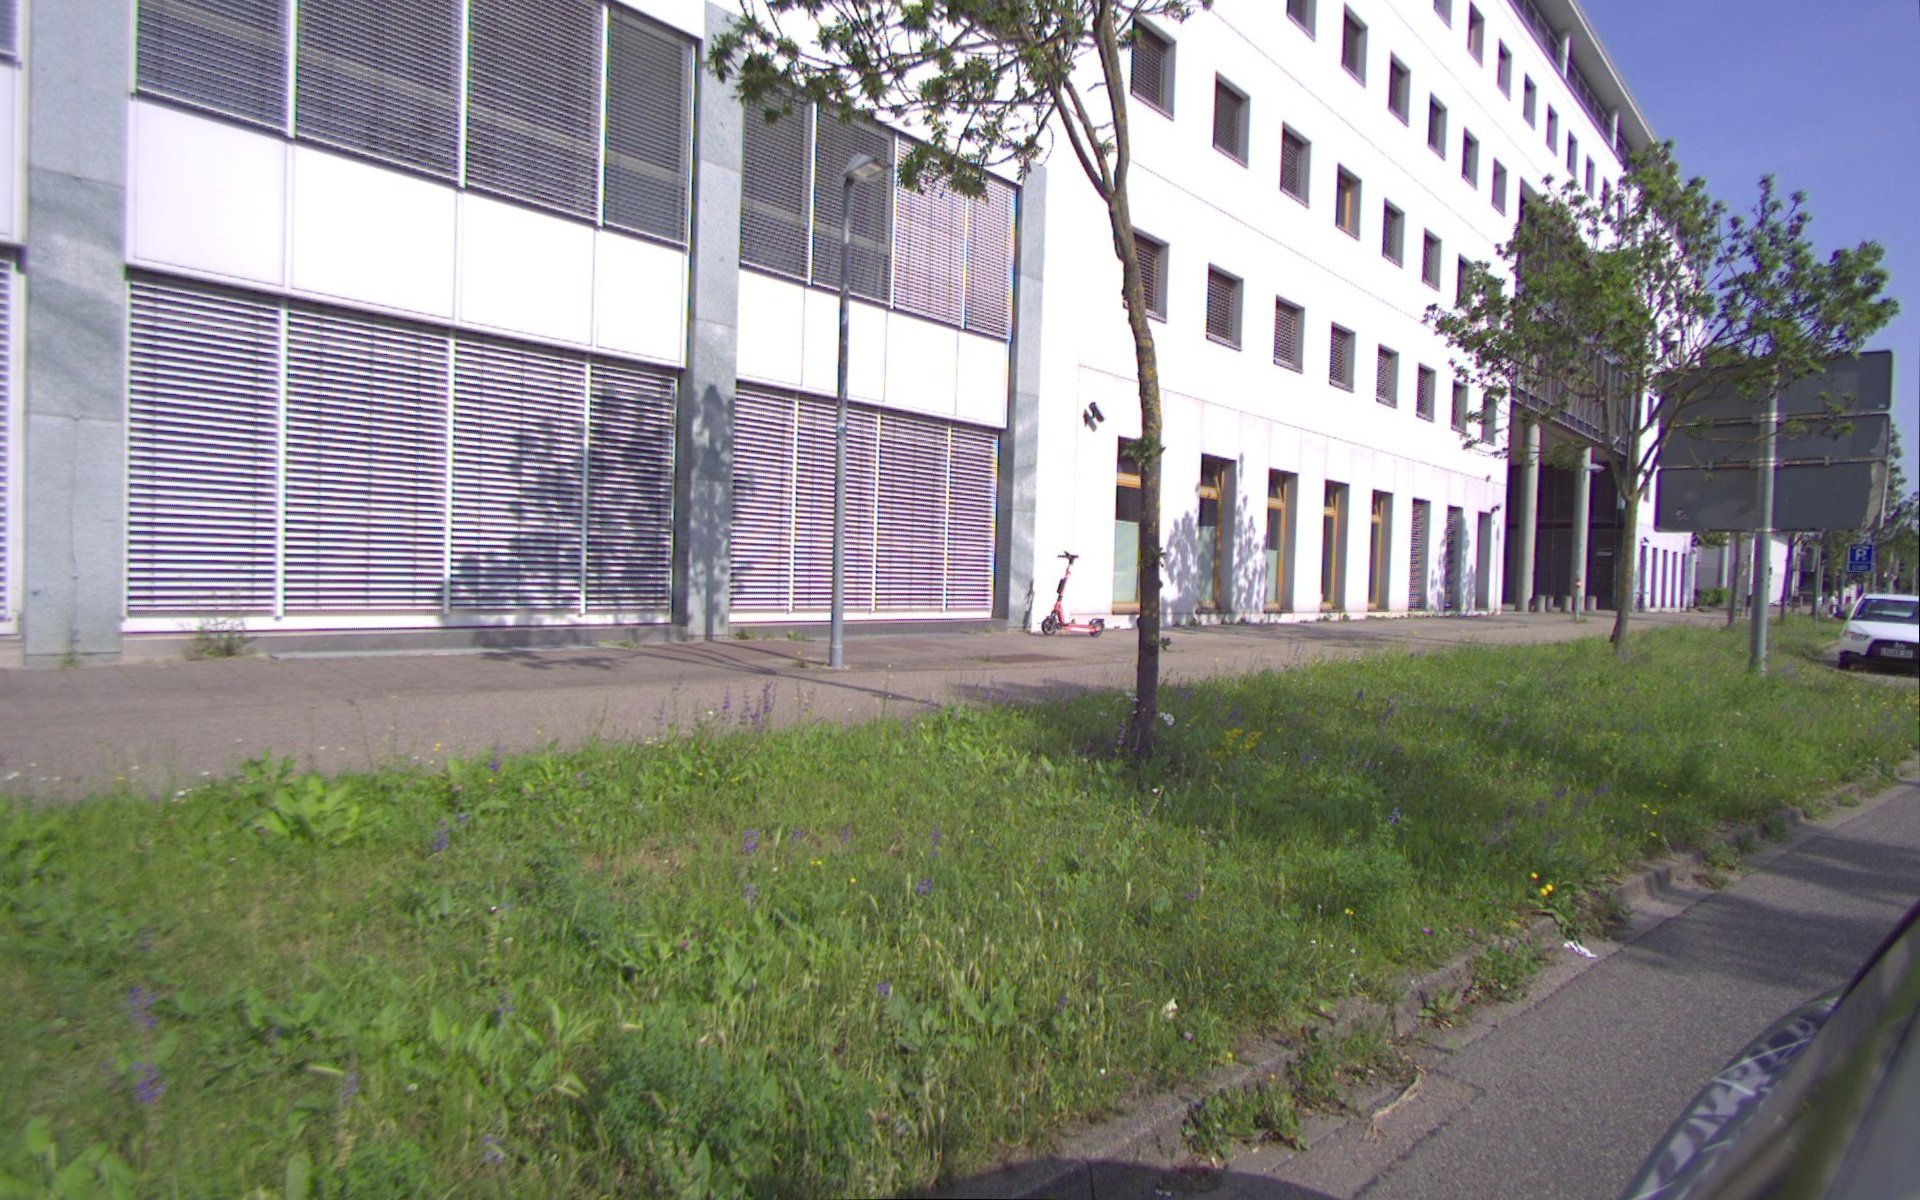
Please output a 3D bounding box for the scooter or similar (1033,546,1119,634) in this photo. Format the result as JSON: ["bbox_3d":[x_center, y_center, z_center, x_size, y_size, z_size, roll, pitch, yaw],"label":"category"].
[{"bbox_3d":[1.692,-0.146,14.714,1.232,1.228,0.463,1,3,-40],"label":"scooter or similar"}]

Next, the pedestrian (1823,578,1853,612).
[{"bbox_3d":[43.603,-0.233,50.248,0.698,1.635,0.782,2,2,-18],"label":"pedestrian"}]

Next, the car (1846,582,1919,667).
[{"bbox_3d":[18.830,0.463,20.129,1.689,1.545,3.791,3,2,43],"label":"car"}]

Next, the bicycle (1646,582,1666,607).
[{"bbox_3d":[31.886,-0.250,46.358,0.493,1.099,1.527,5,3,41],"label":"bicycle"}]
